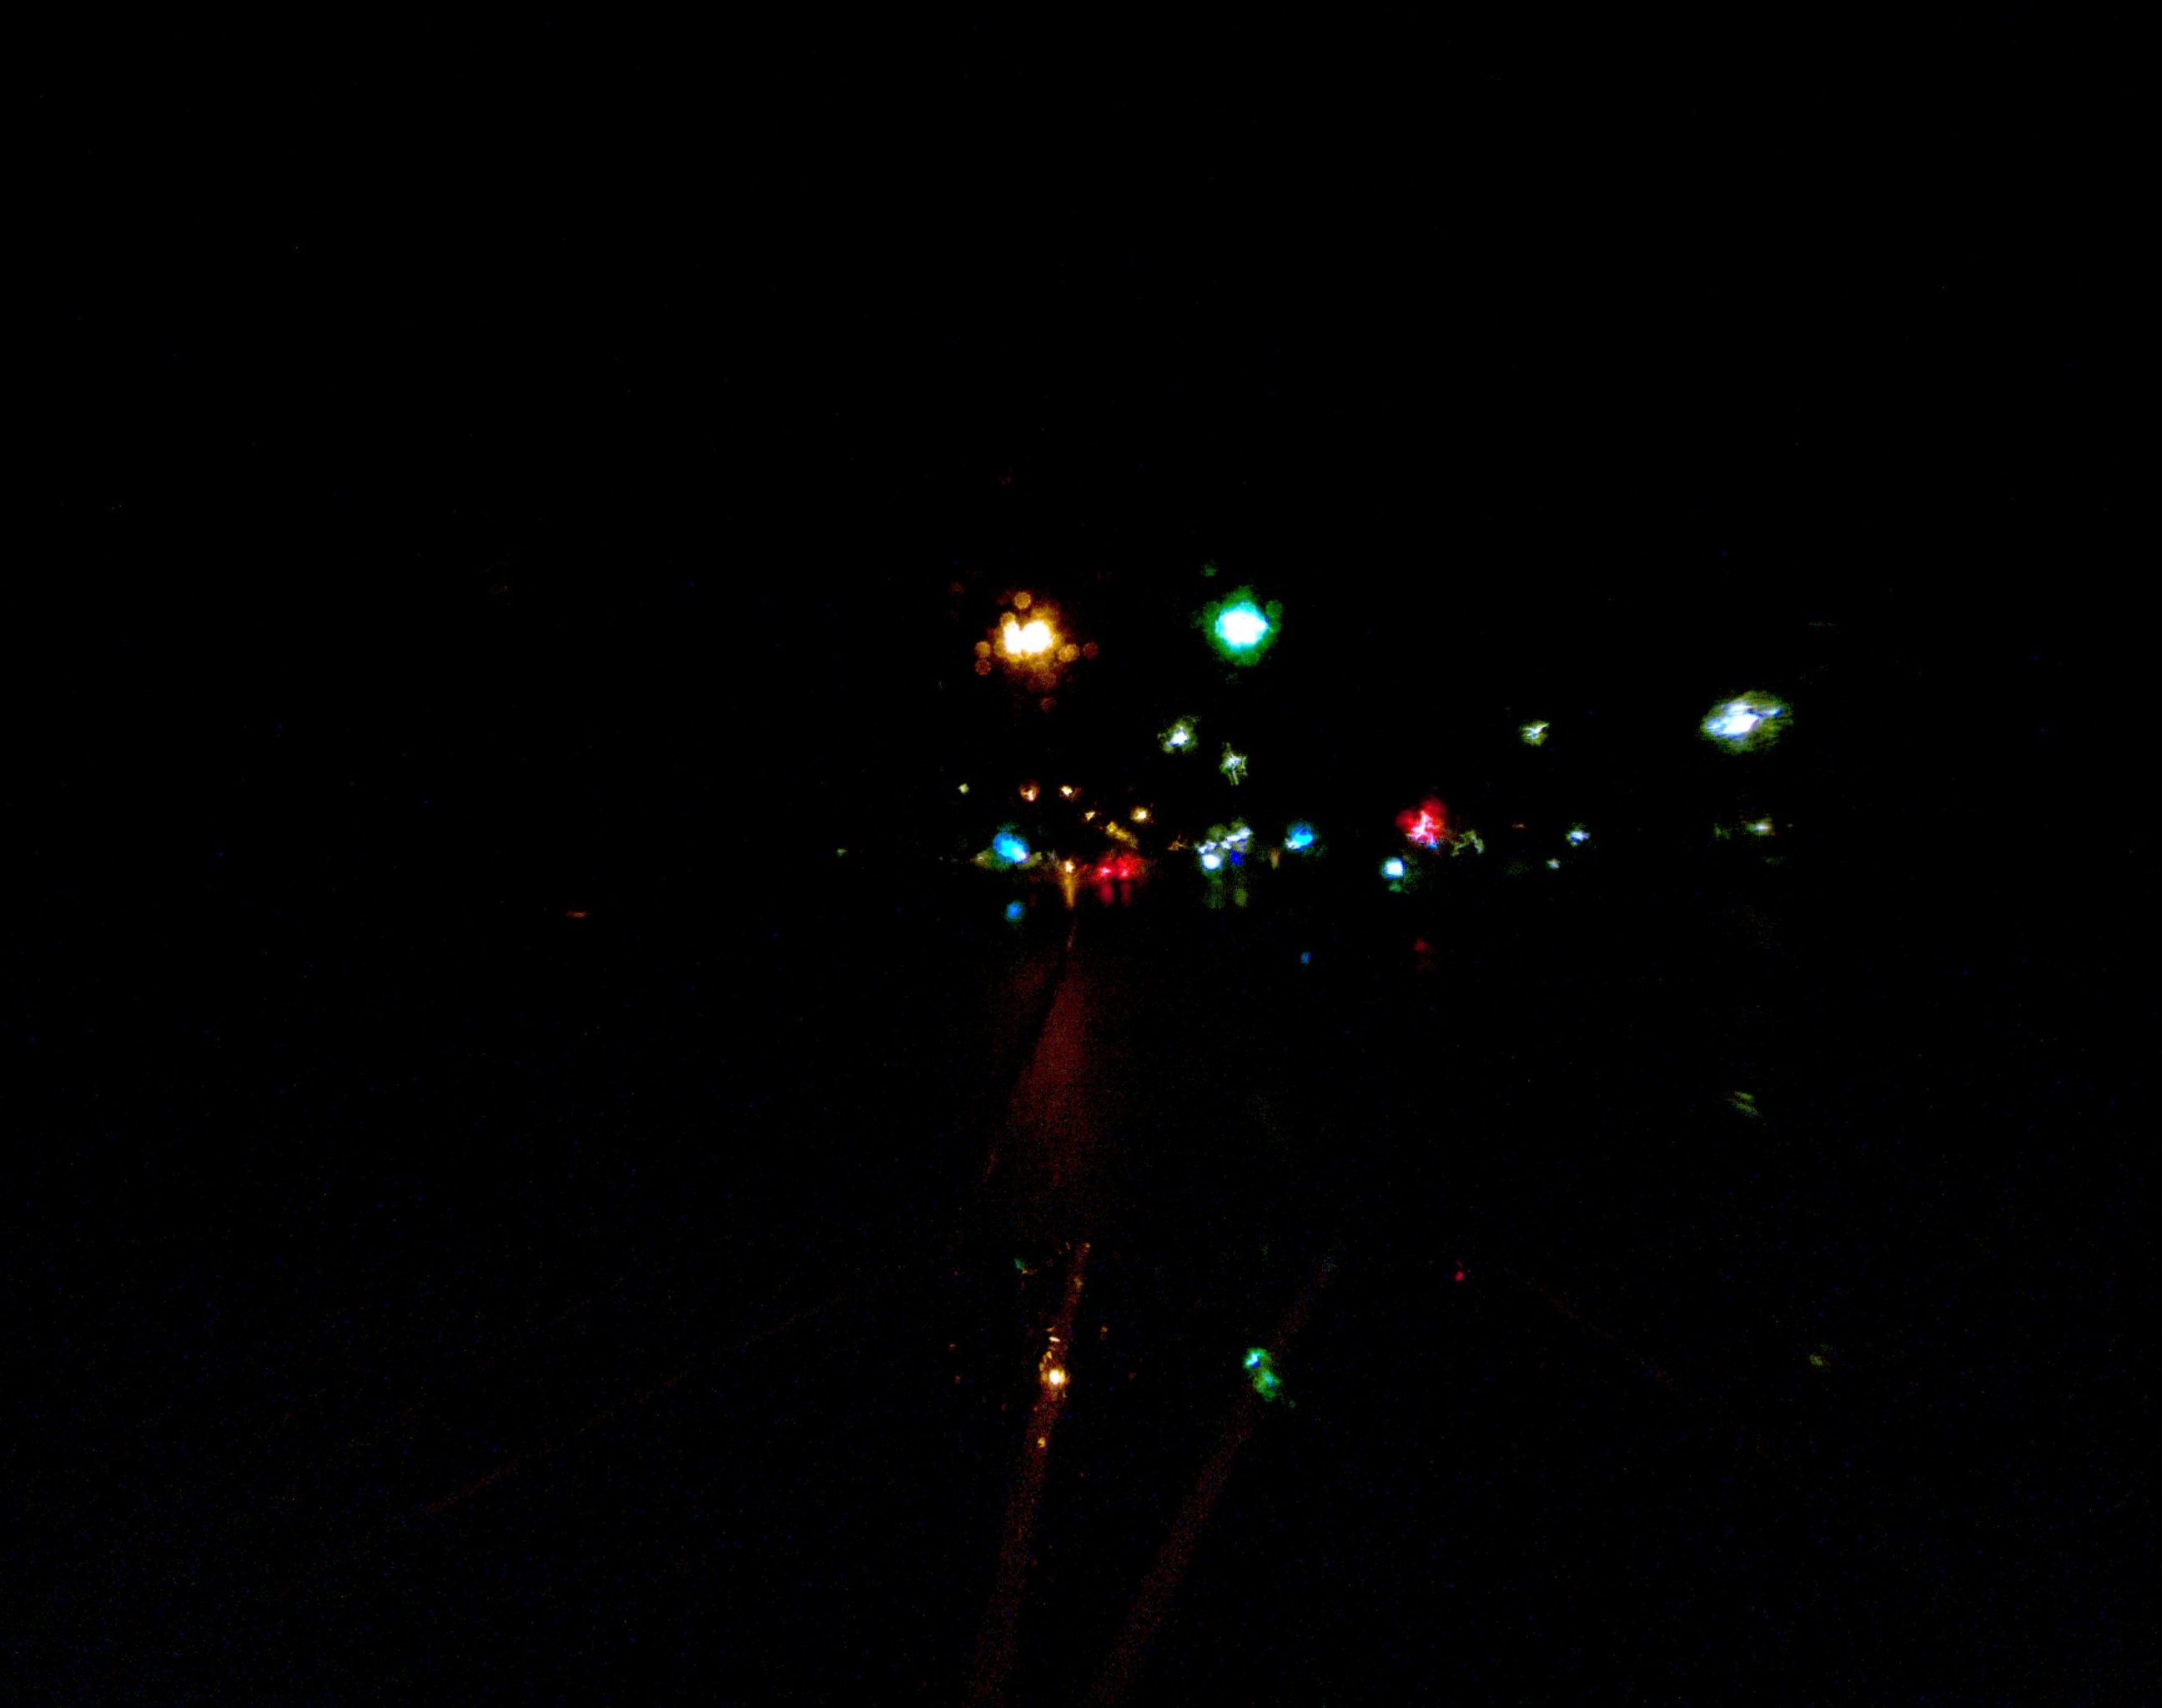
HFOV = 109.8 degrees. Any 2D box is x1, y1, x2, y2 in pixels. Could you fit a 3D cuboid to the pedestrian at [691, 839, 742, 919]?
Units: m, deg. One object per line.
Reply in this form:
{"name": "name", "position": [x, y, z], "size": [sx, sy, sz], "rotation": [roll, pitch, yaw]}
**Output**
{"name": "pedestrian", "position": [-8.441, 0.582, 17.621], "size": [0.747, 1.829, 0.871], "rotation": [0, -2, 1]}

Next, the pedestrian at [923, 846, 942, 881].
{"name": "pedestrian", "position": [-8.081, 0.522, 41.342], "size": [0.806, 1.894, 0.884], "rotation": [0, -2, 1]}

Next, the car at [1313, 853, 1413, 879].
{"name": "car", "position": [16.309, 0.713, 44.111], "size": [5.054, 1.417, 2.004], "rotation": [-1, 0, 40]}

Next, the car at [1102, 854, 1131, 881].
{"name": "car", "position": [2.368, 0.884, 51.477], "size": [1.810, 1.759, 4.272], "rotation": [-1, 0, 1]}

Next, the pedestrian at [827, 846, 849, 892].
{"name": "pedestrian", "position": [-8.945, 0.553, 28.002], "size": [0.575, 1.654, 0.601], "rotation": [0, -2, 1]}

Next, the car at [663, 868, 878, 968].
{"name": "car", "position": [-5.758, 1.095, 14.211], "size": [3.403, 1.552, 1.590], "rotation": [-1, 0, -36]}

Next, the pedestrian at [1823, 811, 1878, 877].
{"name": "pedestrian", "position": [19.953, -0.251, 19.705], "size": [0.629, 1.666, 0.791], "rotation": [-3, 0, -26]}

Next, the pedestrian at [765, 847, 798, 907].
{"name": "pedestrian", "position": [-9.066, 0.696, 22.992], "size": [0.657, 1.779, 0.784], "rotation": [0, -2, 1]}

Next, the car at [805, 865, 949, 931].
{"name": "car", "position": [-5.501, 1.129, 20.616], "size": [3.403, 1.552, 1.634], "rotation": [-1, 0, -35]}

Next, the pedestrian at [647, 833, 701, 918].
{"name": "pedestrian", "position": [-9.282, 0.502, 17.340], "size": [0.747, 1.892, 0.843], "rotation": [0, -2, 1]}

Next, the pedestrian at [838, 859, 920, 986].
{"name": "pedestrian", "position": [-2.961, 0.963, 11.258], "size": [0.824, 1.760, 1.177], "rotation": [-2, 0, 1]}

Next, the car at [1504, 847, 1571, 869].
{"name": "car", "position": [34.362, 0.302, 57.305], "size": [4.210, 1.557, 1.853], "rotation": [-1, 0, 27]}

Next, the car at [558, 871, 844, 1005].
{"name": "car", "position": [-5.501, 1.088, 11.144], "size": [3.517, 1.552, 1.590], "rotation": [-1, 0, -34]}

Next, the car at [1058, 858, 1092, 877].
{"name": "car", "position": [-0.517, 1.087, 62.542], "size": [1.829, 1.417, 4.201], "rotation": [-1, 0, -15]}

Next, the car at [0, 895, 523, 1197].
{"name": "car", "position": [-5.858, 1.041, 4.666], "size": [3.736, 1.459, 1.609], "rotation": [1, 0, -29]}

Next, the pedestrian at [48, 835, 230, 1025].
{"name": "pedestrian", "position": [-9.584, 0.749, 7.770], "size": [0.747, 1.829, 0.843], "rotation": [0, -2, 1]}

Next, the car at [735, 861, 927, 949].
{"name": "car", "position": [-5.630, 1.054, 17.172], "size": [3.808, 1.679, 1.832], "rotation": [-2, 0, -29]}

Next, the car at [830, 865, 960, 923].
{"name": "car", "position": [-5.653, 1.157, 23.218], "size": [3.488, 1.552, 1.633], "rotation": [-1, 0, -32]}

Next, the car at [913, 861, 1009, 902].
{"name": "car", "position": [-5.034, 1.126, 32.112], "size": [3.607, 1.552, 1.707], "rotation": [-1, 0, -37]}

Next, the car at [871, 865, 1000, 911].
{"name": "car", "position": [-5.042, 1.134, 26.603], "size": [4.123, 1.483, 1.590], "rotation": [0, 0, -36]}

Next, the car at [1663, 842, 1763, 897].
{"name": "car", "position": [21.393, 0.490, 25.884], "size": [1.696, 1.717, 4.007], "rotation": [0, 0, 26]}

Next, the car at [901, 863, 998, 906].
{"name": "car", "position": [-5.105, 1.149, 29.634], "size": [3.403, 1.582, 1.590], "rotation": [0, 0, -35]}

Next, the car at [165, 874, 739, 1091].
{"name": "car", "position": [-5.748, 1.054, 7.663], "size": [4.058, 1.552, 1.747], "rotation": [-1, 0, -28]}
